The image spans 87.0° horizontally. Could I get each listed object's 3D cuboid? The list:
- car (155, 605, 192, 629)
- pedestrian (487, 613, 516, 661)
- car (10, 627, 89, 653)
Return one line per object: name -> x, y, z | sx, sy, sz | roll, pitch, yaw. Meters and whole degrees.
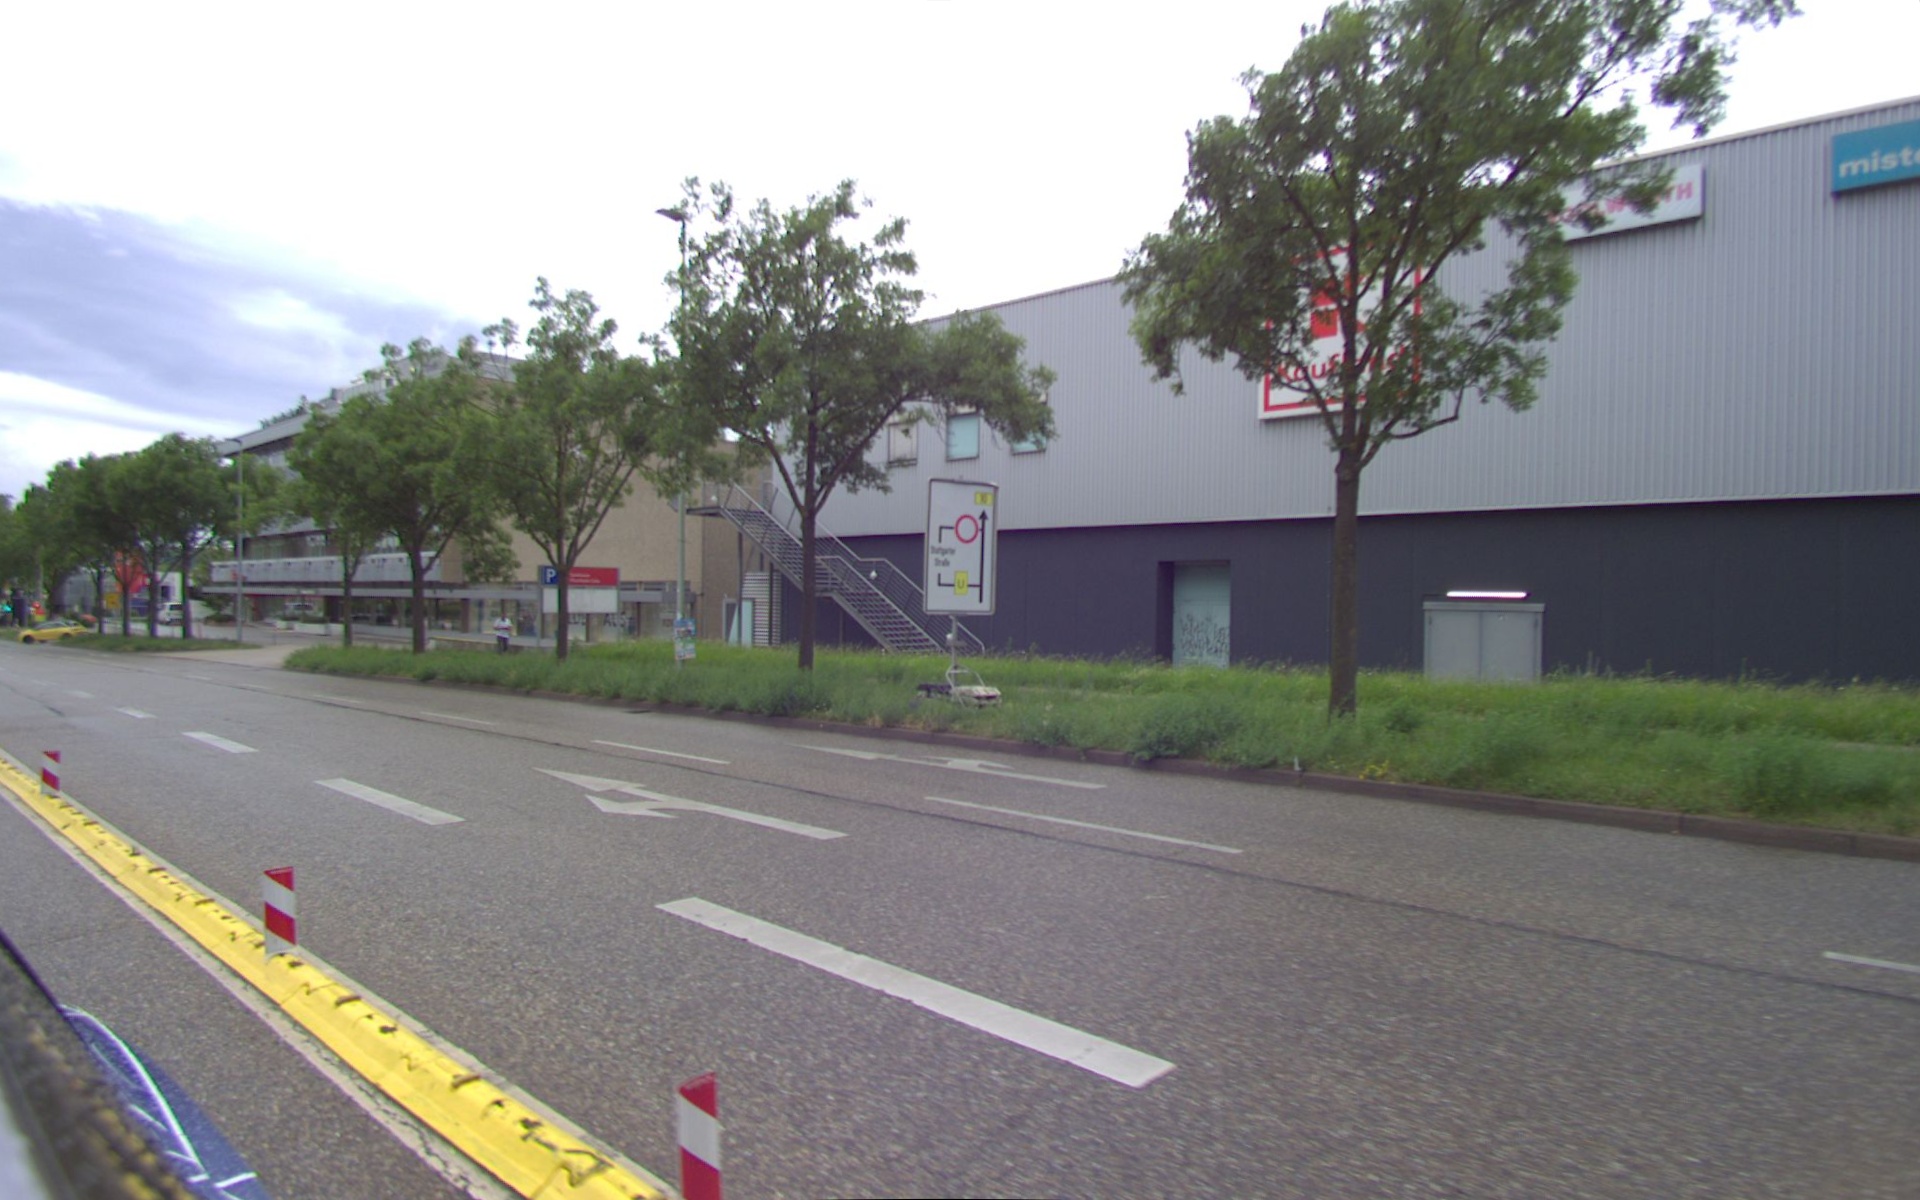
car -> -70.880, 1.526, 91.219 | 4.887, 2.029, 1.971 | -1, 1, 44
pedestrian -> -15.394, 1.234, 33.969 | 0.767, 1.595, 0.578 | -1, 0, 42
car -> -62.715, 2.756, 69.771 | 3.650, 1.520, 1.626 | -3, 3, -13
